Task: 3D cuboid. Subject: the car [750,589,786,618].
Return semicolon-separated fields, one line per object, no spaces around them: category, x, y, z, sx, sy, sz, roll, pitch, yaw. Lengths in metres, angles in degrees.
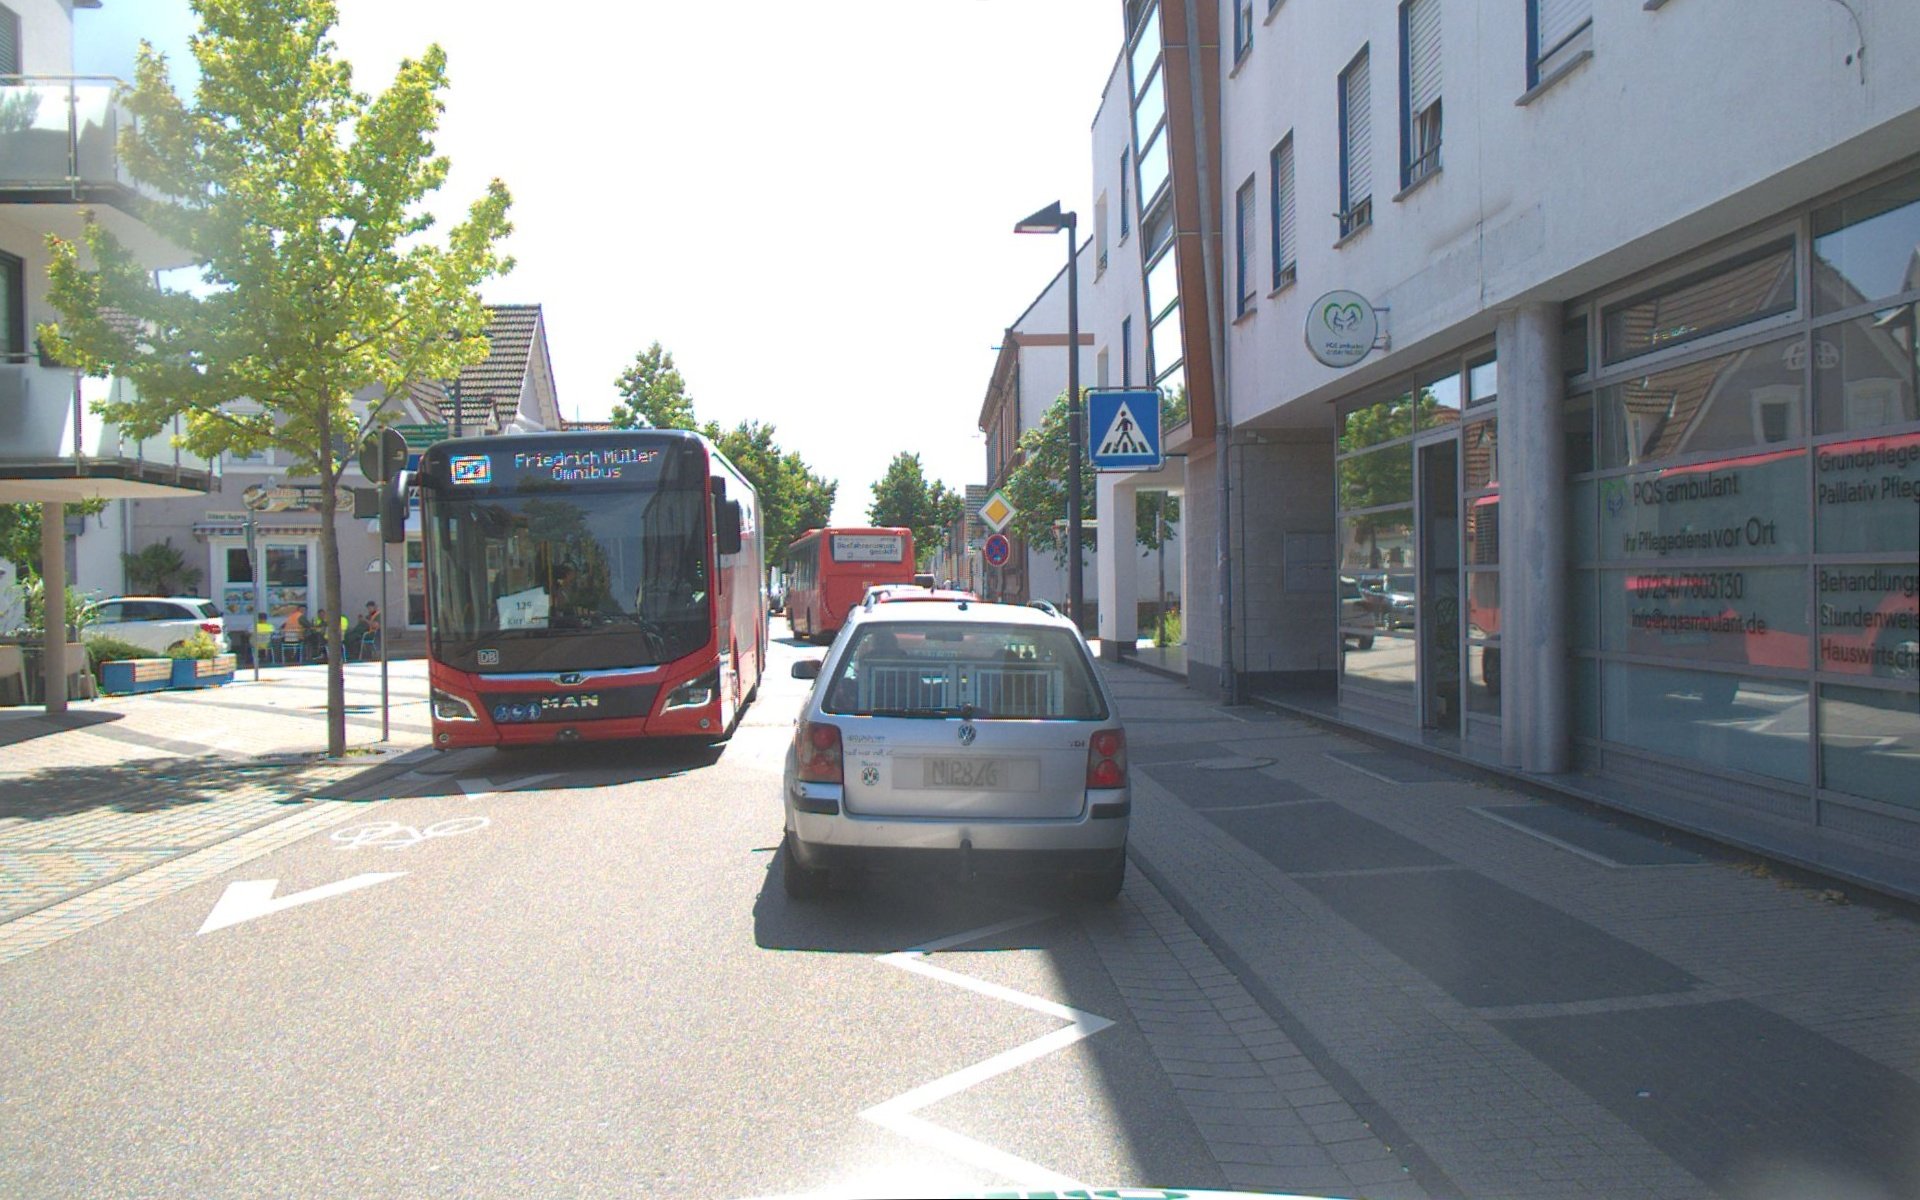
car;-11.025;0.198;95.091;1.775;1.586;3.998;-1;0;-3

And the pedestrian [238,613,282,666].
pedestrian;-15.409;0.864;36.408;0.776;1.135;0.632;1;0;44

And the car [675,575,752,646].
car;-6.443;0.247;43.563;1.642;1.746;4.229;-1;0;-4

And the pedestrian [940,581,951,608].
pedestrian;-0.886;-0.340;101.760;0.594;1.696;0.789;-1;0;-4

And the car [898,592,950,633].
car;-1.300;0.420;57.848;1.685;1.332;3.623;-1;0;-3

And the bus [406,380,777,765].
bus;-4.062;-0.296;22.739;2.617;3.178;17.787;-1;0;-5

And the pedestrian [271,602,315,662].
pedestrian;-15.047;0.713;37.322;0.776;1.311;0.632;1;0;44

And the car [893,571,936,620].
car;-2.041;-0.205;73.191;1.752;2.118;3.623;-1;0;-3

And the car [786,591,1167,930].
car;-0.012;0.699;9.075;1.643;1.455;3.677;1;0;-3

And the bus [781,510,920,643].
bus;-3.453;-0.622;48.206;2.690;3.356;12.674;0;0;-10

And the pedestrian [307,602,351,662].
pedestrian;-14.129;0.711;37.030;0.776;1.311;0.632;1;0;44

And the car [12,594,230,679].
car;-17.497;0.727;34.661;3.858;1.572;1.510;-1;2;-20

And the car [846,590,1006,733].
car;-0.443;0.634;19.161;1.643;1.455;3.677;-1;0;-3

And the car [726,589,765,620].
car;-11.470;0.204;88.658;1.775;1.586;3.998;-1;0;-3

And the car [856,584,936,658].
car;-1.314;0.401;34.420;1.561;1.455;3.678;0;0;-2

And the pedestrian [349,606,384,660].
pedestrian;-13.713;0.757;38.223;0.610;1.199;0.695;-1;0;-7

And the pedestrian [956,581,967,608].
pedestrian;0.070;-0.349;102.276;0.594;1.696;0.789;-1;0;-4
